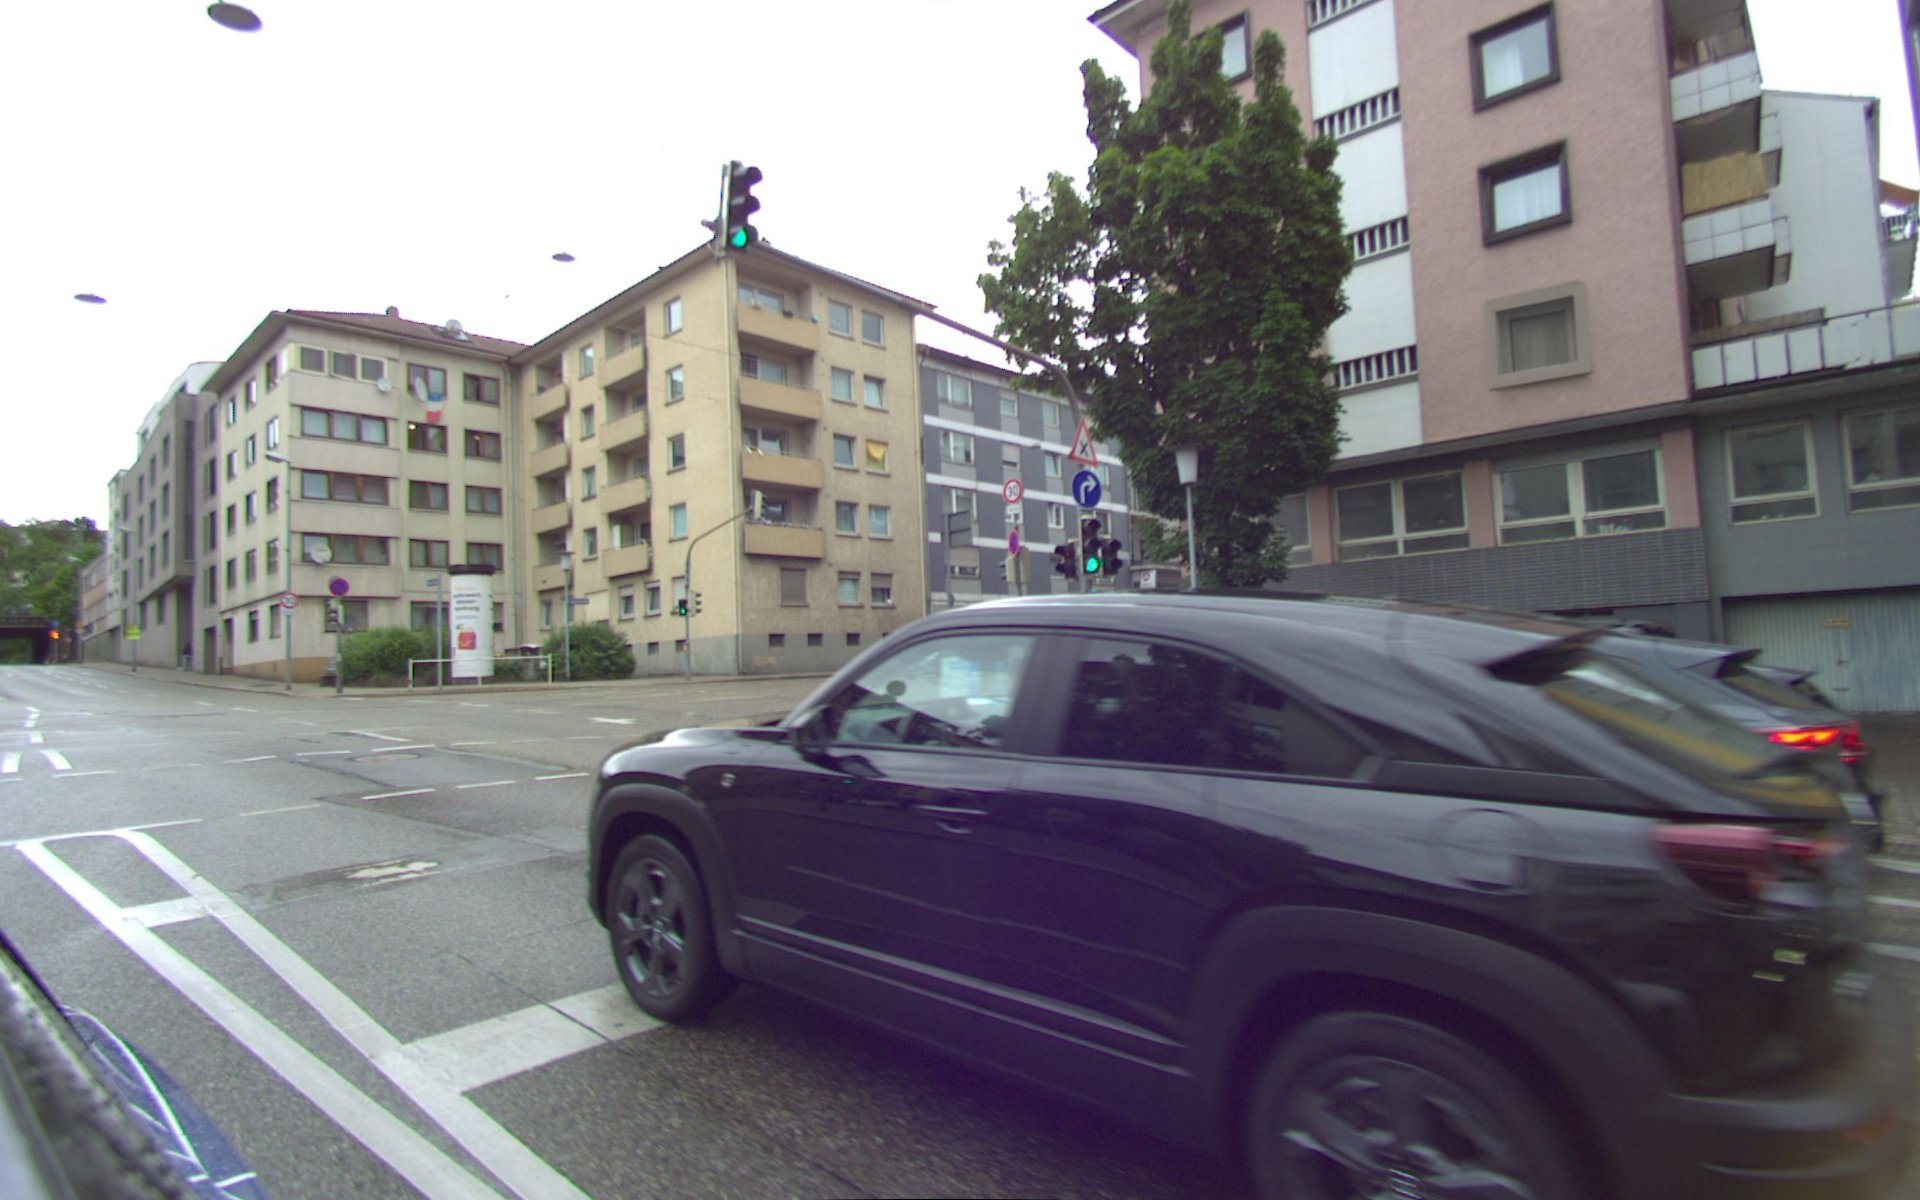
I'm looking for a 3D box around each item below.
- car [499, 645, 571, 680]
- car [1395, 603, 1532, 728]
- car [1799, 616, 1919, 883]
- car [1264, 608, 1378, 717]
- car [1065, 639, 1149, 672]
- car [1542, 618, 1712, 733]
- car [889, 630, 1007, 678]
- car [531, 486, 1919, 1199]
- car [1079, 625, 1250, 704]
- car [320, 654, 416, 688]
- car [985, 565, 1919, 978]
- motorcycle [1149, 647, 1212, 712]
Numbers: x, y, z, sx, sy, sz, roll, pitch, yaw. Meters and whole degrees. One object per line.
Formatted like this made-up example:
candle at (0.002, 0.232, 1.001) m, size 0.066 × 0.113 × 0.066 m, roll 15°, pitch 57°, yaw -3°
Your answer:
car at (-19.273, 2.814, 45.813) m, size 3.324 × 1.485 × 1.742 m, roll -3°, pitch -2°, yaw 42°
car at (8.428, 1.023, 17.000) m, size 1.851 × 1.807 × 3.963 m, roll 0°, pitch -2°, yaw 27°
car at (7.513, 0.846, 5.945) m, size 3.769 × 1.608 × 1.719 m, roll -3°, pitch -3°, yaw 36°
car at (6.645, 1.051, 18.673) m, size 1.760 × 1.741 × 4.318 m, roll 0°, pitch -1°, yaw 20°
car at (6.076, 2.259, 41.474) m, size 1.691 × 1.157 × 3.950 m, roll -3°, pitch -2°, yaw 37°
car at (10.148, 1.046, 15.681) m, size 1.853 × 1.507 × 3.961 m, roll 0°, pitch -1°, yaw 29°
car at (-0.360, 1.810, 34.370) m, size 1.732 × 1.492 × 4.016 m, roll -6°, pitch -5°, yaw 41°
car at (0.485, 0.640, 3.398) m, size 4.376 × 1.548 × 1.800 m, roll 0°, pitch -2°, yaw 41°
car at (4.294, 1.267, 20.873) m, size 1.737 × 1.370 × 3.946 m, roll -2°, pitch -1°, yaw 40°
car at (-25.134, 3.012, 43.024) m, size 1.382 × 1.201 × 3.217 m, roll -6°, pitch -4°, yaw 43°
car at (2.407, 0.742, 5.781) m, size 4.376 × 1.489 × 1.800 m, roll -4°, pitch -4°, yaw 41°
motorcycle at (3.965, 1.400, 18.131) m, size 0.452 × 1.040 × 1.774 m, roll -3°, pitch -2°, yaw 34°
